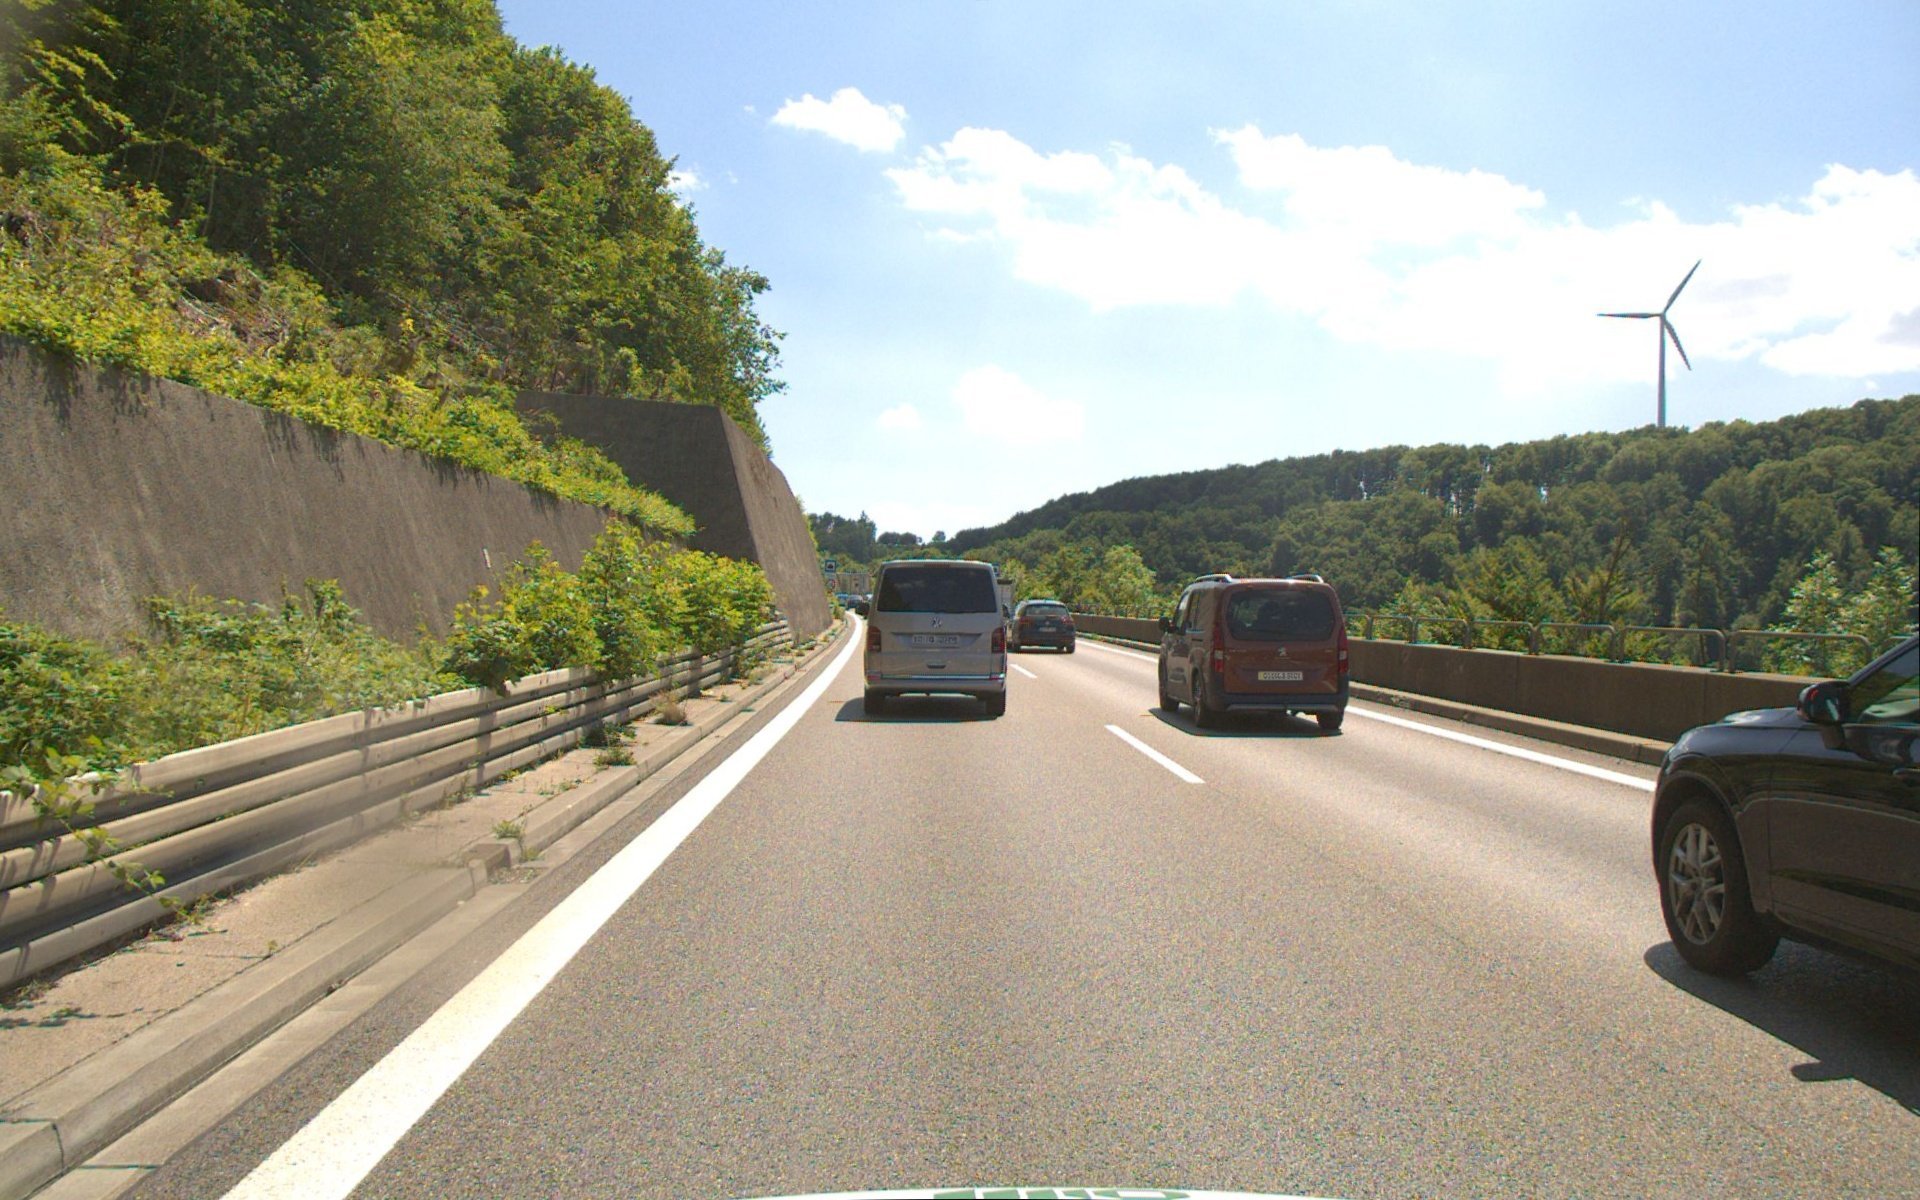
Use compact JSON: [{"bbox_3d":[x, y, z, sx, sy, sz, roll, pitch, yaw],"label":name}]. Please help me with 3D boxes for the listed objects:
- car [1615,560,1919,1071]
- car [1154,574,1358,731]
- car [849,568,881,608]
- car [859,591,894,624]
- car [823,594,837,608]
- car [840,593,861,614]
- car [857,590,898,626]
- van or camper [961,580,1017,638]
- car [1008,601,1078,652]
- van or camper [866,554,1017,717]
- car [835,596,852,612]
[{"bbox_3d":[4.026,0.706,5.474,1.797,1.662,4.661,0,0,-1],"label":"car"},{"bbox_3d":[3.705,0.632,21.490,1.796,1.815,4.675,0,-1,0],"label":"car"},{"bbox_3d":[-12.199,-1.556,211.159,3.964,4.957,10.100,0,0,-4],"label":"car"},{"bbox_3d":[-5.159,0.463,102.181,1.953,1.948,4.000,1,0,0],"label":"car"},{"bbox_3d":[-16.135,0.098,205.220,1.809,1.780,3.996,0,0,-5],"label":"car"},{"bbox_3d":[-10.906,0.340,164.664,1.953,2.049,3.998,-1,-1,-2],"label":"car"},{"bbox_3d":[-4.343,0.412,86.606,1.955,1.849,3.996,1,0,-5],"label":"car"},{"bbox_3d":[1.296,0.404,76.174,2.219,2.596,4.733,-1,0,-4],"label":"van or camper"},{"bbox_3d":[2.339,0.732,47.333,1.733,1.400,3.591,0,0,-2],"label":"car"},{"bbox_3d":[-0.314,0.444,22.512,1.838,1.983,4.292,-1,0,-2],"label":"van or camper"},{"bbox_3d":[-12.877,0.461,183.088,1.808,1.780,3.998,0,0,-3],"label":"car"}]
